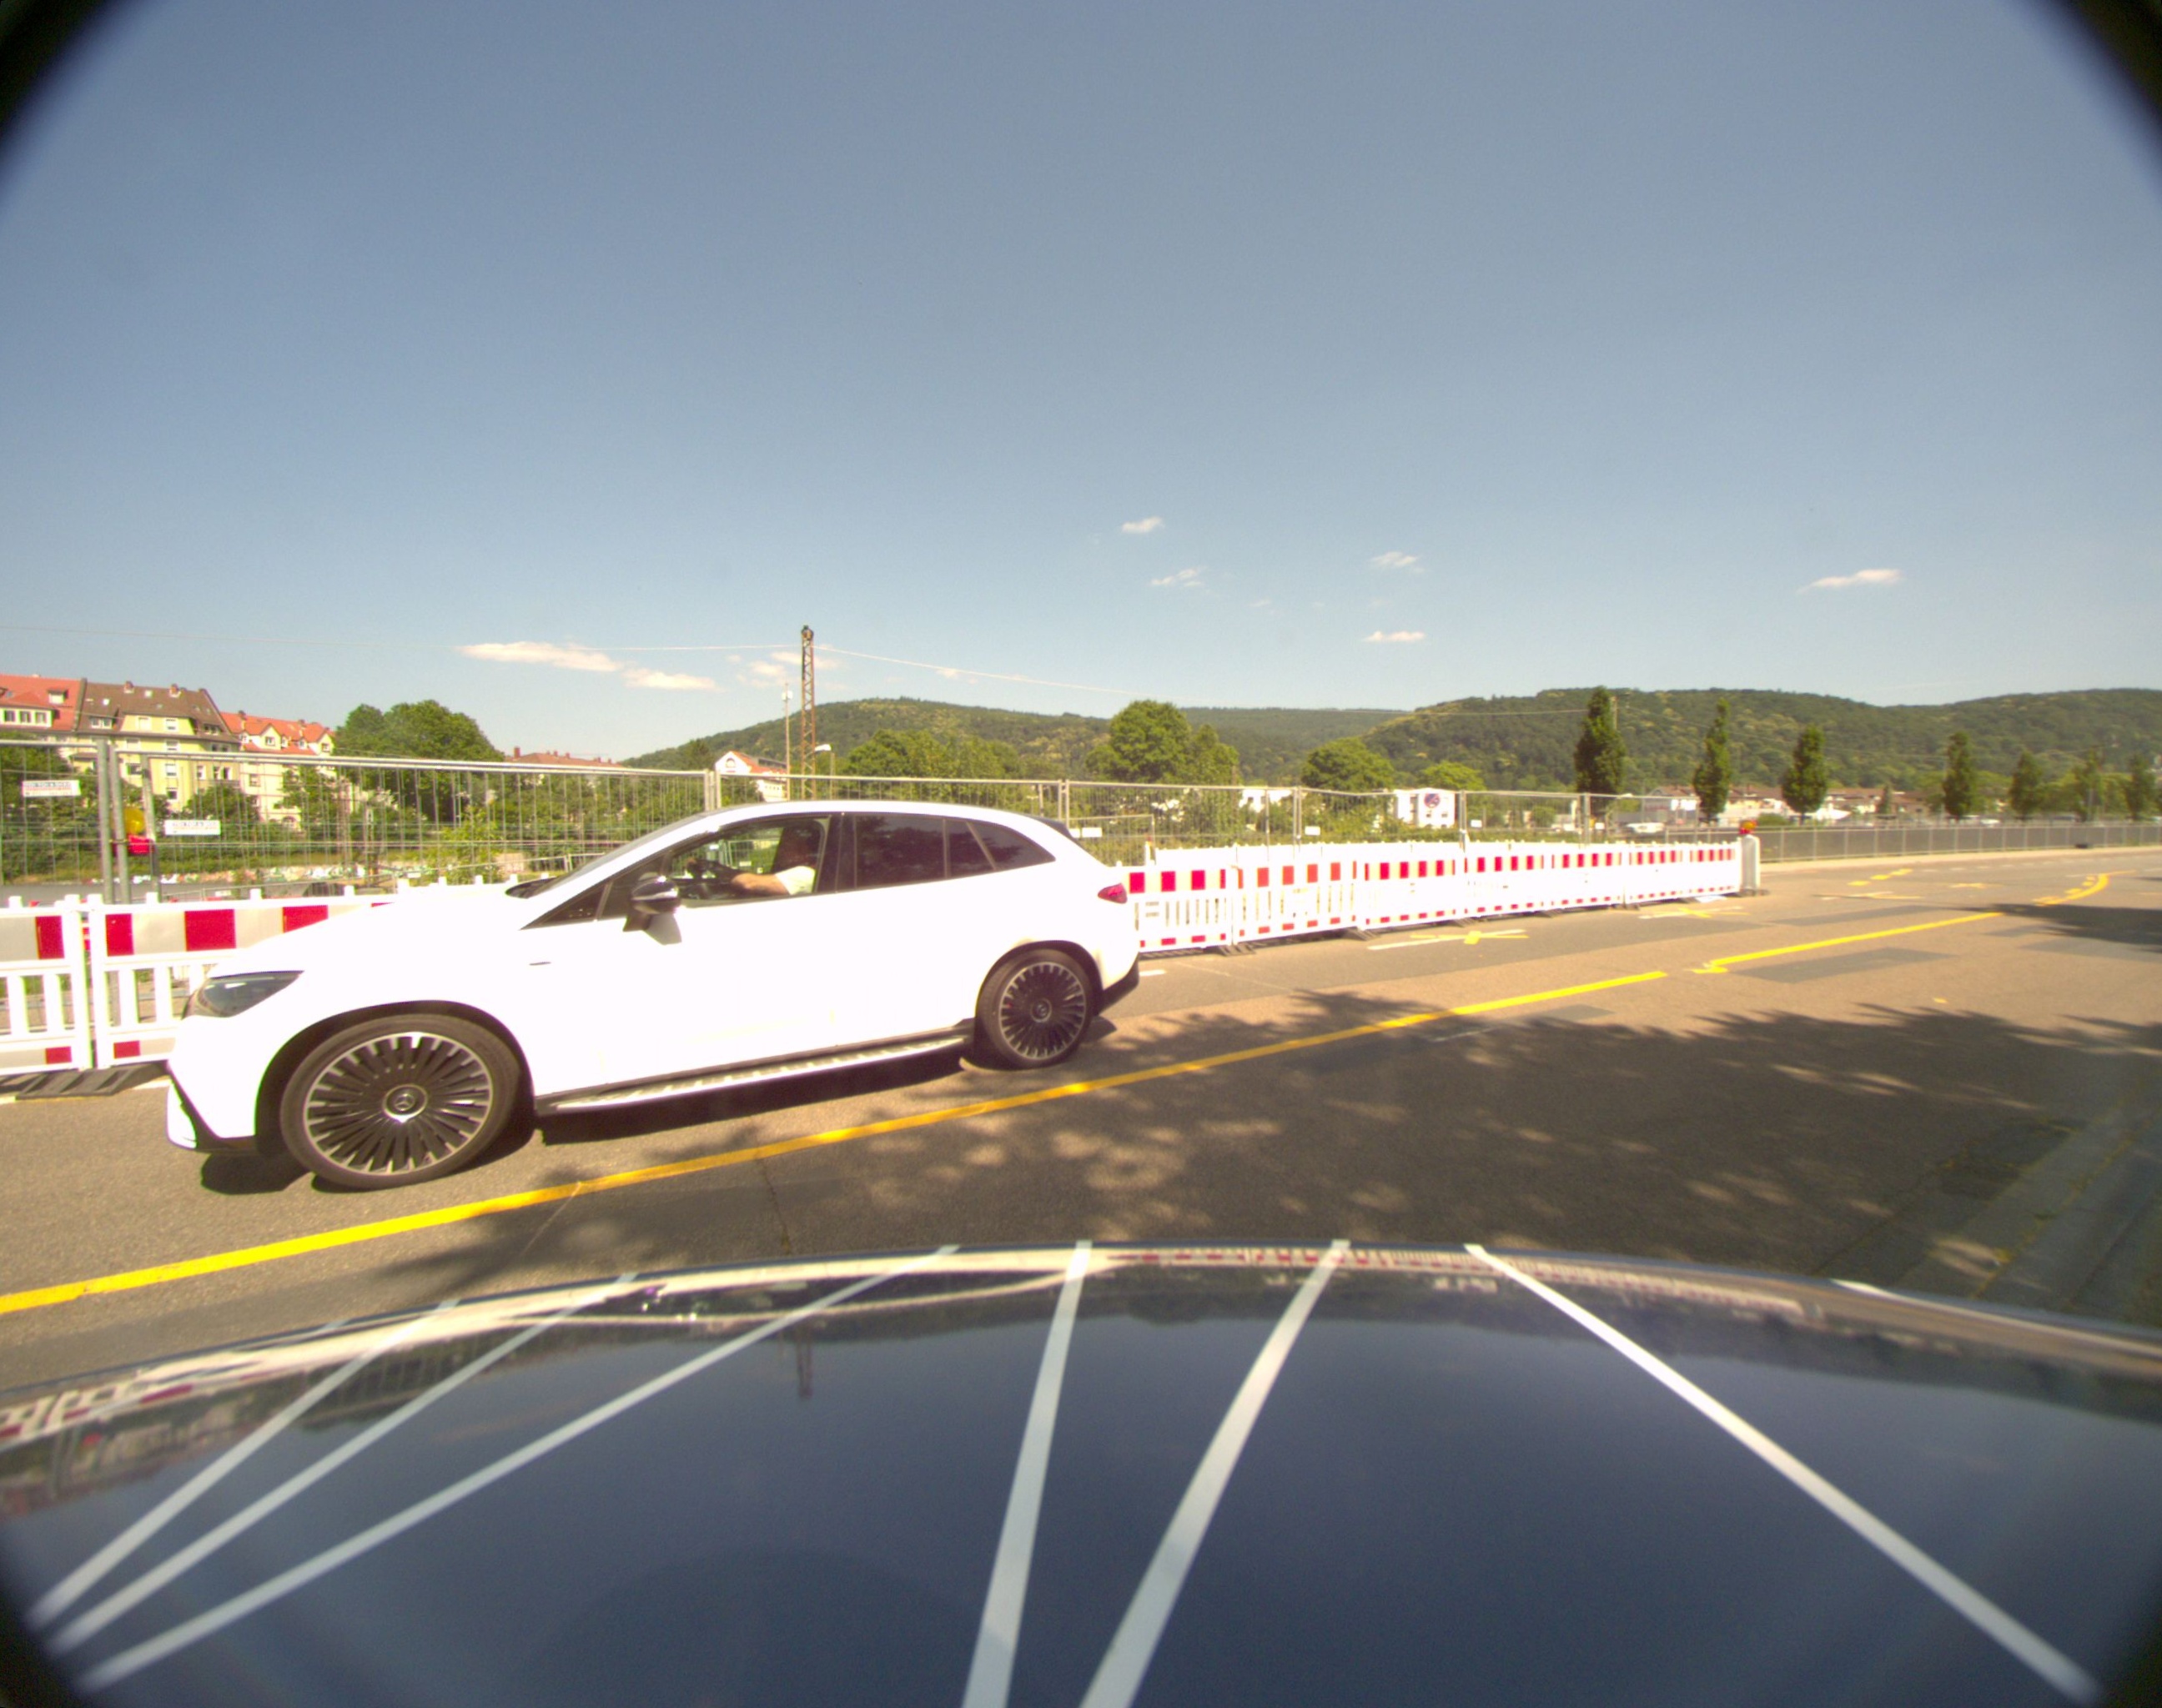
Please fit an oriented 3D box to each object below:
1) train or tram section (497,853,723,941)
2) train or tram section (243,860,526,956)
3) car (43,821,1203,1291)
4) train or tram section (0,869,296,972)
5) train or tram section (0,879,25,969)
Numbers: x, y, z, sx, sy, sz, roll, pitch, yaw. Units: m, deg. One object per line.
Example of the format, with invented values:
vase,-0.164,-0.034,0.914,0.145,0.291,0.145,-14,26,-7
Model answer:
train or tram section,-23.007,1.994,37.809,8.979,3.690,3.019,-2,1,-19
train or tram section,-31.468,2.320,34.919,8.979,3.682,3.019,-2,1,-19
car,-1.858,0.633,4.761,5.039,1.636,1.995,-2,3,-29
train or tram section,-39.941,2.683,32.039,8.979,3.682,3.019,-2,1,-19
train or tram section,-48.419,3.046,29.144,8.980,3.682,3.019,-2,1,-20
